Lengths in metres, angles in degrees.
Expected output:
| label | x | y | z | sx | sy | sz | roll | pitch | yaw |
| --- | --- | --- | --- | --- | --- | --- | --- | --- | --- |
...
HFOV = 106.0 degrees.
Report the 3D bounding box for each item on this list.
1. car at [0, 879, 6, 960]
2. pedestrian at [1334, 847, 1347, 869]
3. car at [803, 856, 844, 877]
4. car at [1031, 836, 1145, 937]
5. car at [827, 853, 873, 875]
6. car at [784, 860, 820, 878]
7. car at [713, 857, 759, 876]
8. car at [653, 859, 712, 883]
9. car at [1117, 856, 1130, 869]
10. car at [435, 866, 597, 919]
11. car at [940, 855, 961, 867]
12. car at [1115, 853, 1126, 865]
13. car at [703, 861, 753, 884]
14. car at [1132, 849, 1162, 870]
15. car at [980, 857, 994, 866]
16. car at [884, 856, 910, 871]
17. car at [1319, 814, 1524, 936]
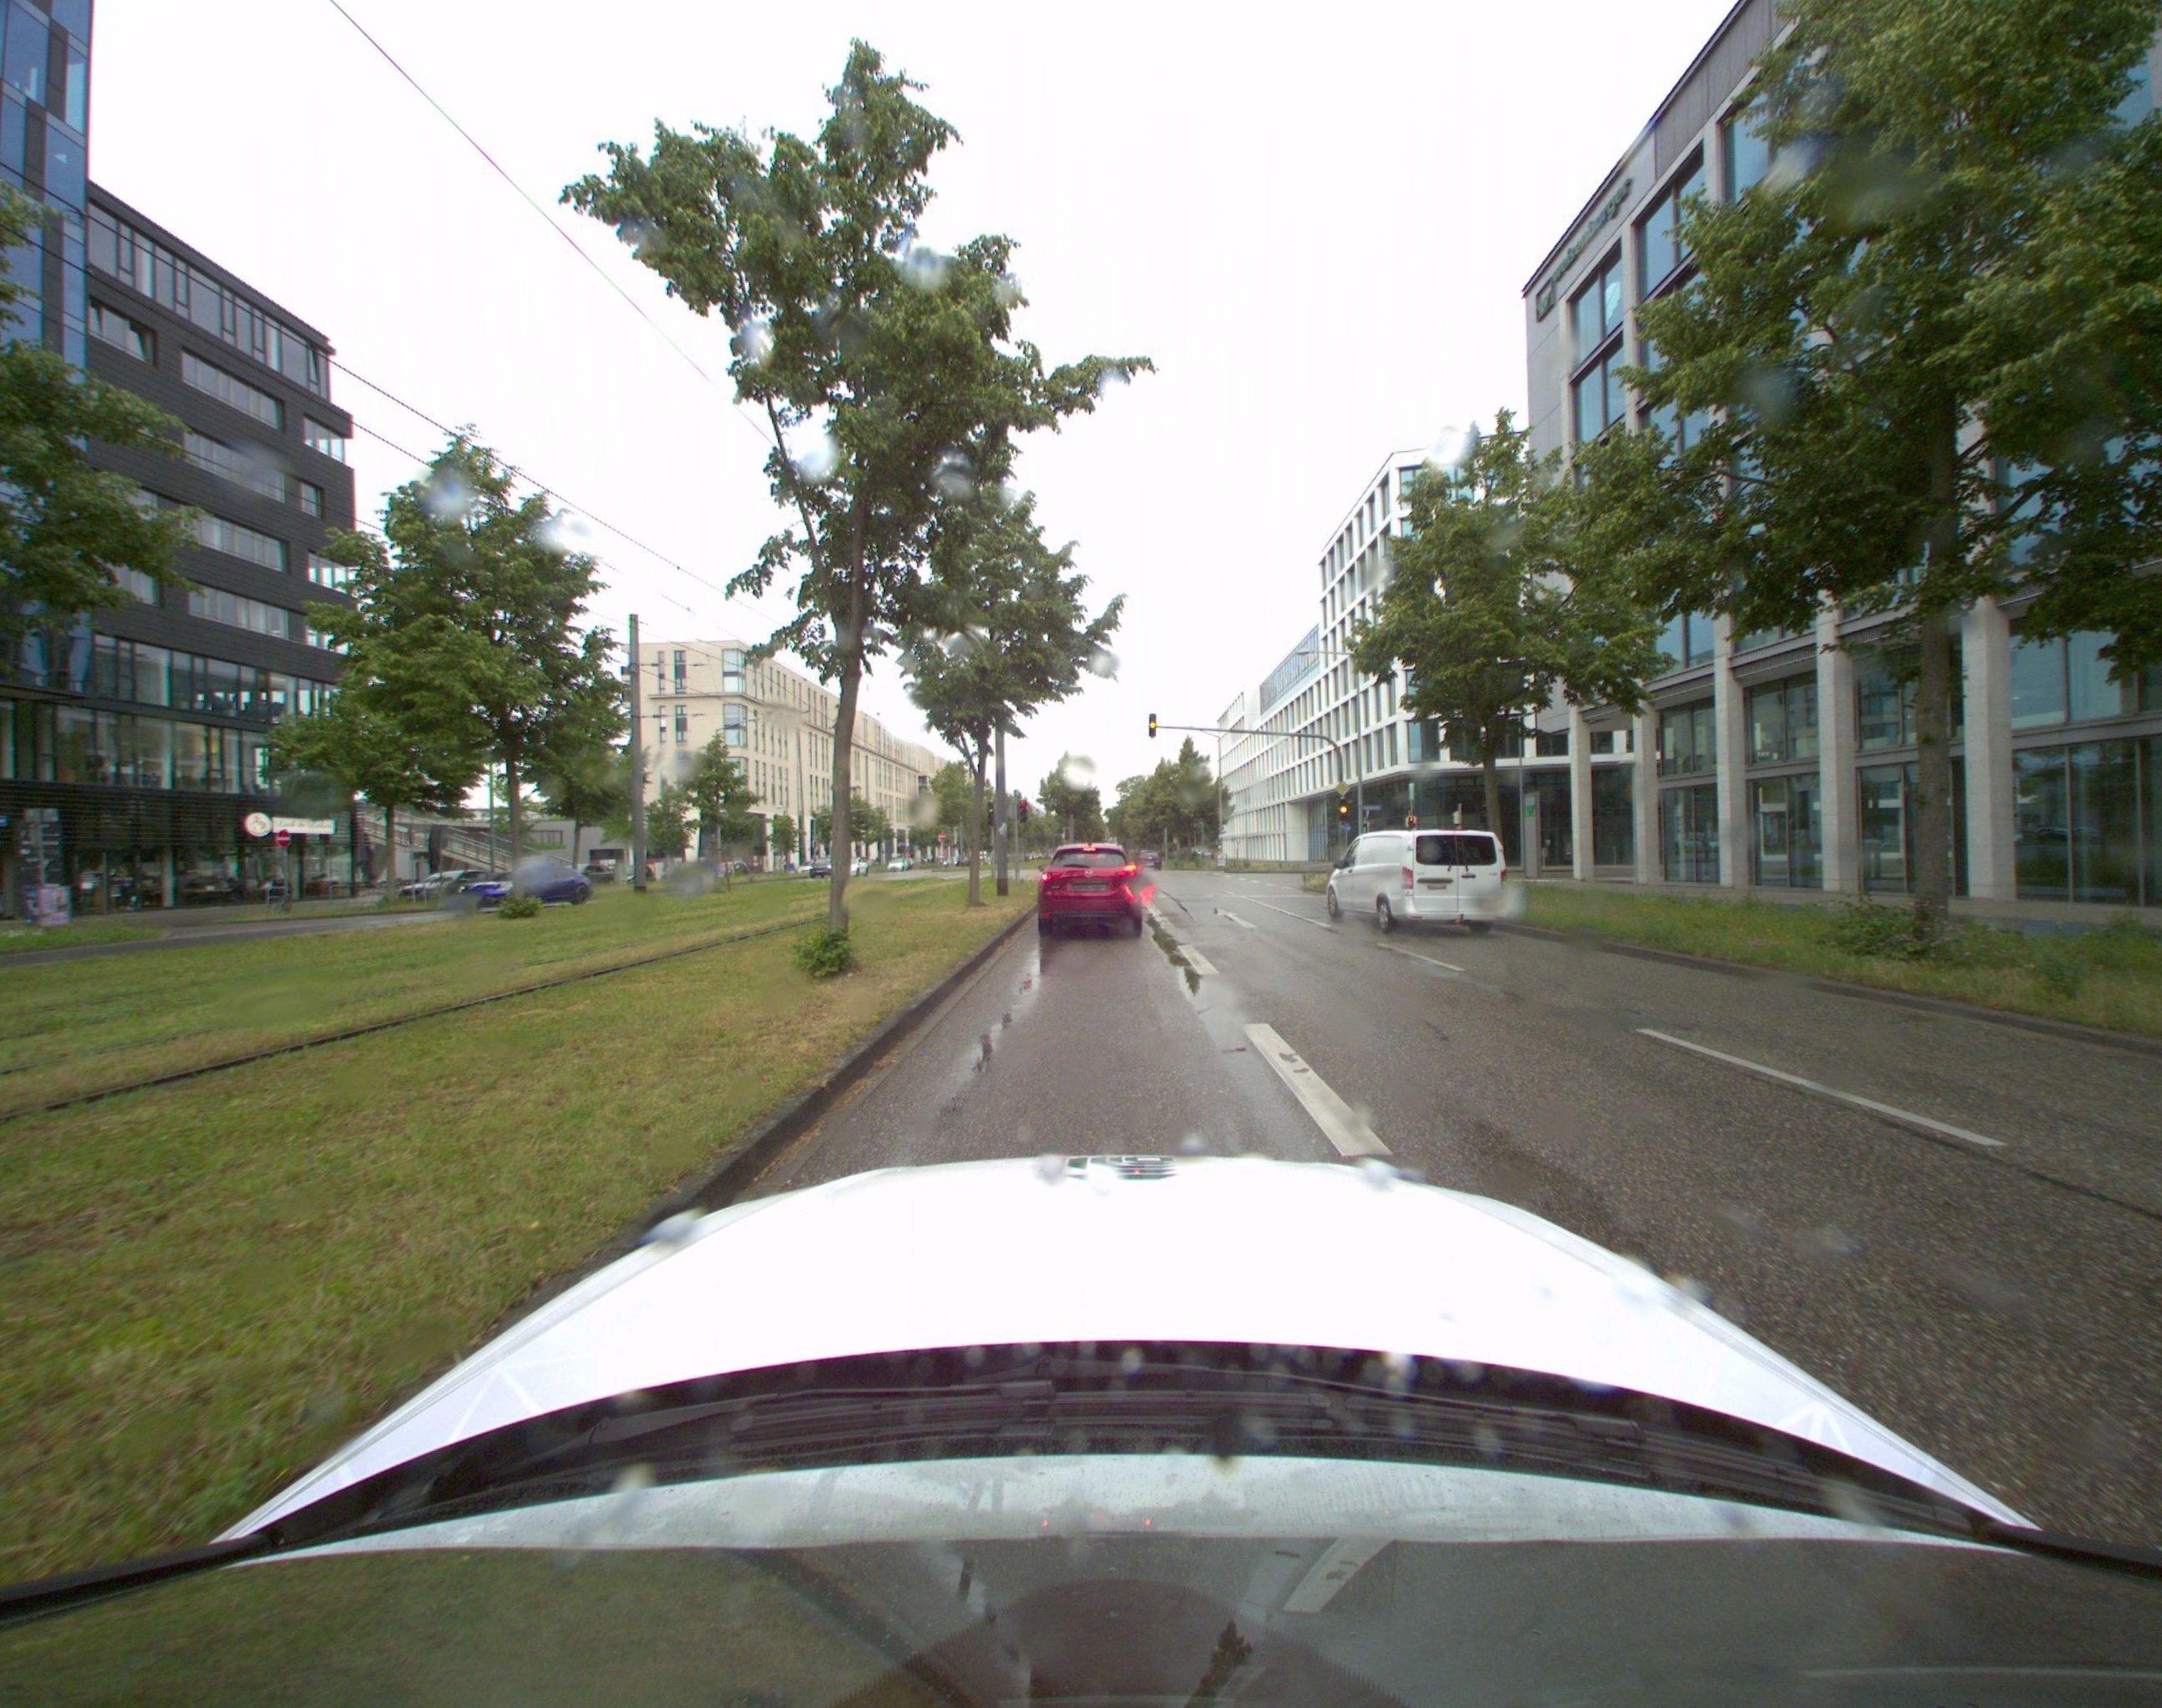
| label | x | y | z | sx | sy | sz | roll | pitch | yaw |
| --- | --- | --- | --- | --- | --- | --- | --- | --- | --- |
| car | -19.498 | 1.154 | 11.535 | 1.986 | 1.380 | 4.874 | -1 | 0 | 1 |
| pedestrian | 20.075 | 0.319 | 62.985 | 0.676 | 1.707 | 0.782 | -1 | 0 | -5 |
| car | -20.836 | 0.988 | 65.958 | 1.987 | 1.618 | 3.999 | -1 | 0 | 0 |
| car | 0.156 | 0.533 | 15.624 | 1.891 | 1.677 | 4.001 | -1 | 0 | 1 |
| car | -16.754 | 0.730 | 59.284 | 1.986 | 1.484 | 4.446 | -1 | 0 | 1 |
| car | -26.253 | 1.399 | 76.783 | 1.987 | 1.618 | 3.999 | -1 | 0 | 0 |
| car | -29.262 | 1.069 | 69.254 | 1.986 | 1.484 | 4.446 | -1 | 0 | 1 |
| car | -26.963 | 1.104 | 55.296 | 1.989 | 1.484 | 4.441 | -1 | 0 | -3 |
| car | 6.824 | 1.425 | 132.234 | 1.986 | 2.013 | 4.001 | -1 | 0 | 1 |
| car | -19.139 | 1.234 | 27.937 | 1.987 | 1.521 | 5.011 | -1 | 0 | 0 |
| car | -17.177 | 0.903 | 107.603 | 1.987 | 1.484 | 4.445 | -1 | 0 | 0 |
| car | 7.335 | 0.917 | 151.816 | 1.986 | 2.013 | 4.001 | -1 | 0 | 1 |
| car | -26.962 | 1.390 | 62.308 | 1.989 | 1.598 | 4.441 | -1 | 0 | -3 |
| car | 4.782 | 0.397 | 59.512 | 1.740 | 1.465 | 3.777 | -1 | 0 | -3 |
| car | -17.153 | 1.331 | 149.315 | 1.987 | 1.484 | 4.446 | -1 | 0 | 1 |
| car | -20.352 | 1.022 | 90.306 | 1.989 | 1.484 | 4.441 | -1 | 0 | -2 |
| car | 6.345 | 0.359 | 15.928 | 1.960 | 1.979 | 5.092 | -1 | 0 | 1 |
